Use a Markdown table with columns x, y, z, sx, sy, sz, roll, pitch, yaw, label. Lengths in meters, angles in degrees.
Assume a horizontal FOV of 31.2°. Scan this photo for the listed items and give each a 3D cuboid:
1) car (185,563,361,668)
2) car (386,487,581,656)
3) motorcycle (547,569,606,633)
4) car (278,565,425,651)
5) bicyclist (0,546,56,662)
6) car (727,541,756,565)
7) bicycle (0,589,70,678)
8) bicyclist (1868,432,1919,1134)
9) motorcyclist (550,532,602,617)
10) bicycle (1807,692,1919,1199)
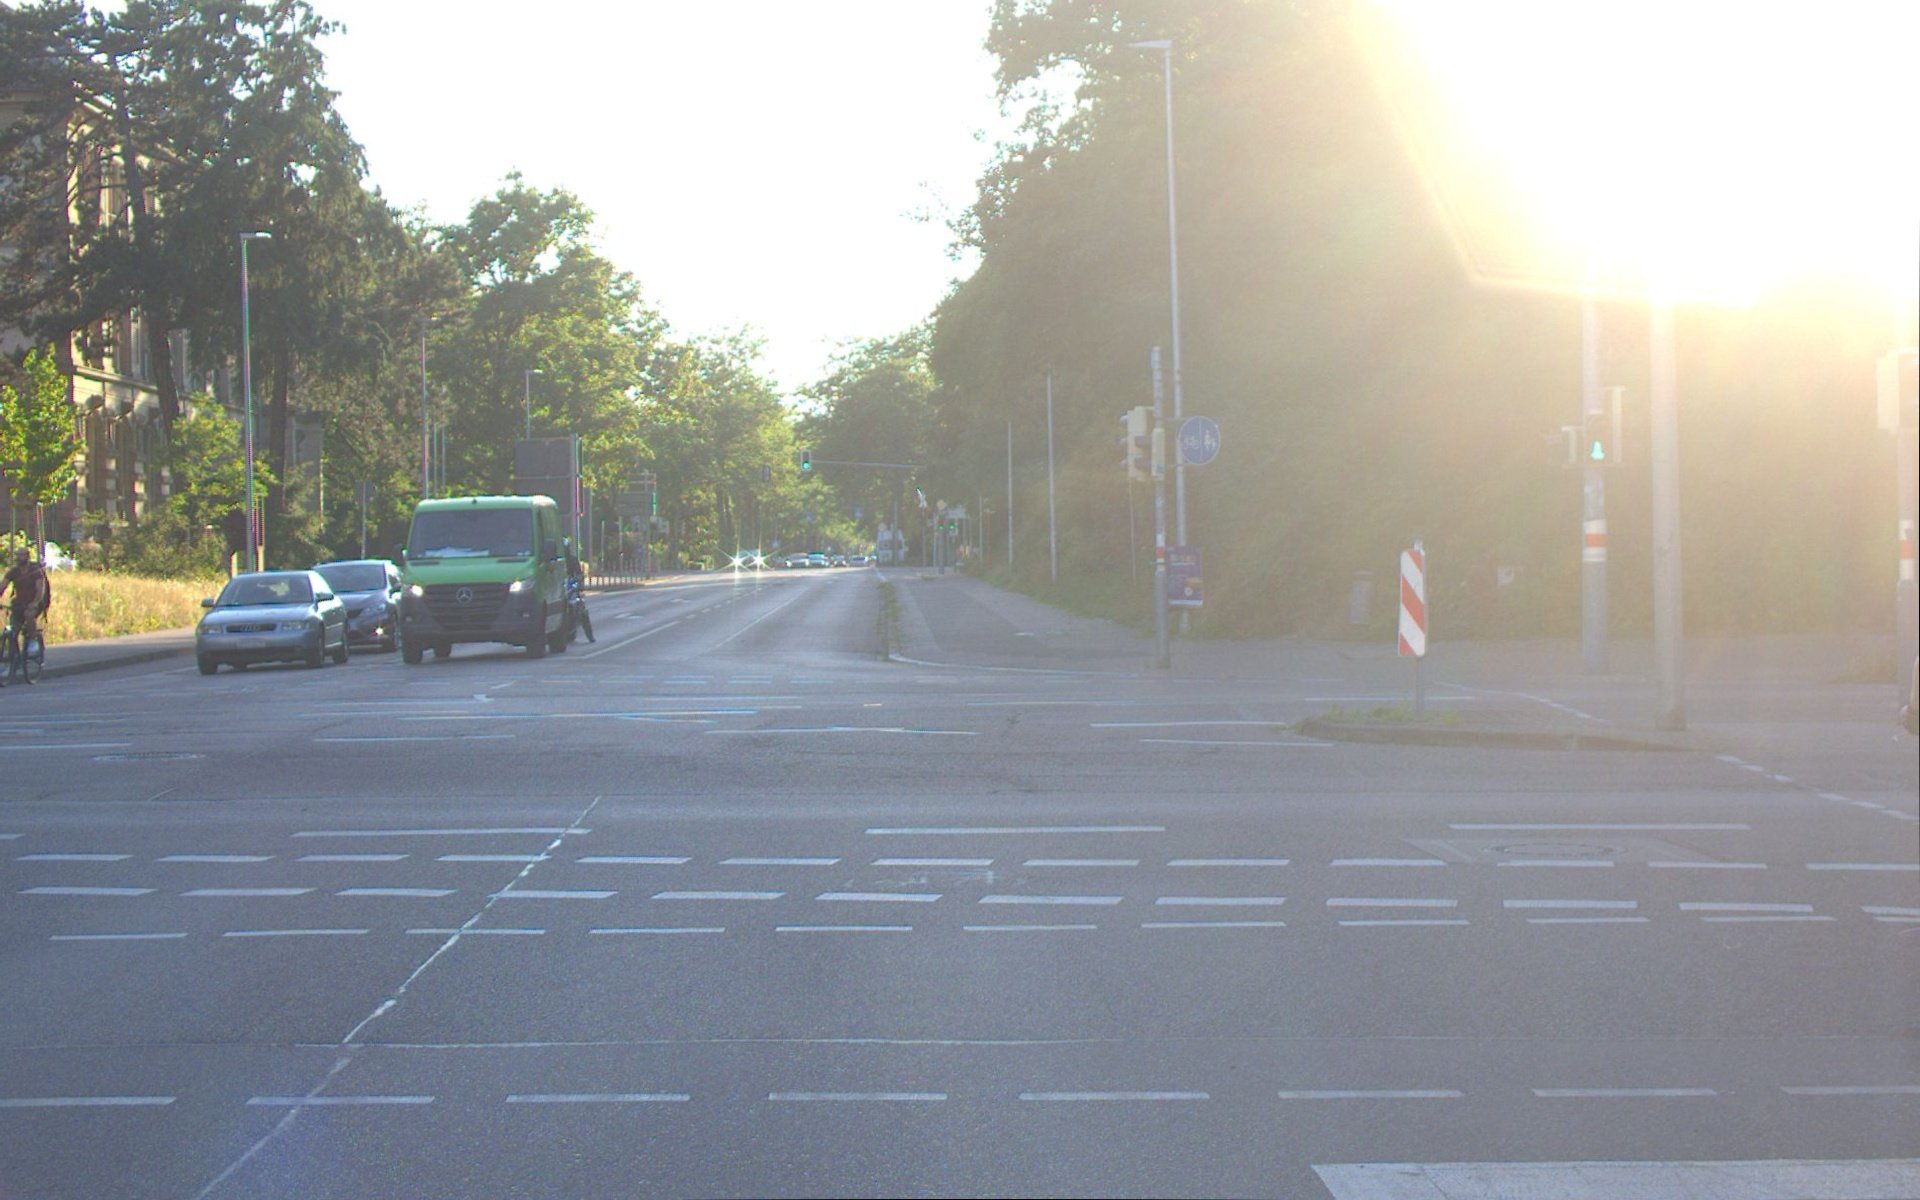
| x | y | z | sx | sy | sz | roll | pitch | yaw | label |
| --- | --- | --- | --- | --- | --- | --- | --- | --- | --- |
| -9.823 | 0.190 | 49.413 | 1.730 | 1.404 | 4.140 | -1 | 1 | -1 | car |
| -6.819 | -0.432 | 49.811 | 2.038 | 2.270 | 5.941 | -1 | 1 | -1 | car |
| -6.239 | 0.010 | 55.957 | 0.754 | 0.998 | 1.879 | -1 | 1 | -1 | motorcycle |
| -9.898 | 0.107 | 56.130 | 1.764 | 1.323 | 3.643 | -1 | 1 | -1 | car |
| -12.396 | 0.050 | 45.343 | 0.683 | 1.507 | 0.956 | -1 | 1 | -1 | bicyclist |
| -13.881 | -2.993 | 217.902 | 1.770 | 1.469 | 3.777 | -1 | 1 | -4 | car |
| -12.391 | 0.432 | 45.456 | 0.686 | 1.119 | 2.169 | -1 | 1 | -1 | bicycle |
| 2.462 | 0.412 | 7.697 | 0.603 | 1.580 | 0.910 | 0 | 1 | -1 | bicyclist |
| -6.242 | -0.418 | 55.907 | 0.749 | 1.353 | 0.704 | -1 | 0 | -1 | motorcyclist |
| 2.457 | 0.814 | 7.737 | 0.613 | 1.134 | 1.884 | 0 | 1 | -1 | bicycle |
